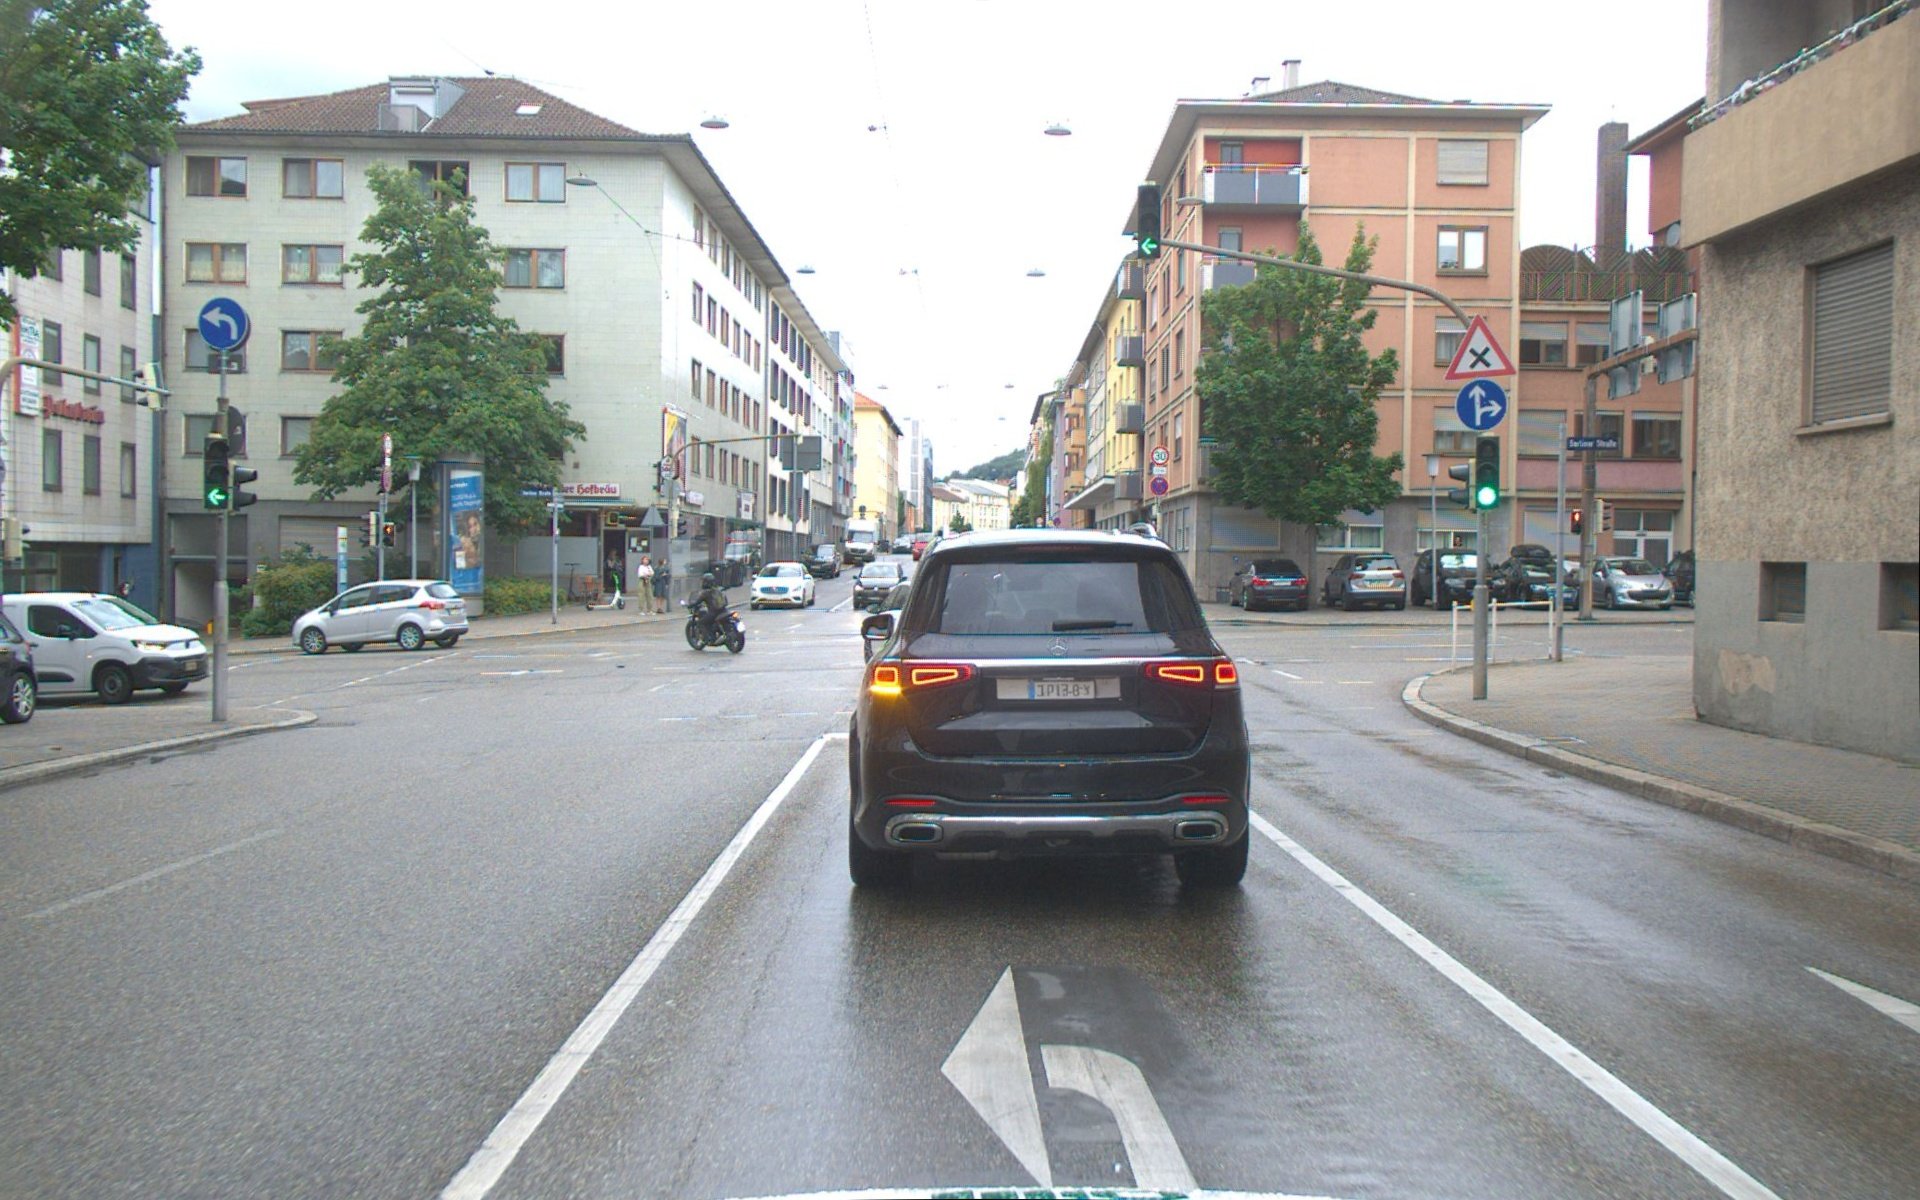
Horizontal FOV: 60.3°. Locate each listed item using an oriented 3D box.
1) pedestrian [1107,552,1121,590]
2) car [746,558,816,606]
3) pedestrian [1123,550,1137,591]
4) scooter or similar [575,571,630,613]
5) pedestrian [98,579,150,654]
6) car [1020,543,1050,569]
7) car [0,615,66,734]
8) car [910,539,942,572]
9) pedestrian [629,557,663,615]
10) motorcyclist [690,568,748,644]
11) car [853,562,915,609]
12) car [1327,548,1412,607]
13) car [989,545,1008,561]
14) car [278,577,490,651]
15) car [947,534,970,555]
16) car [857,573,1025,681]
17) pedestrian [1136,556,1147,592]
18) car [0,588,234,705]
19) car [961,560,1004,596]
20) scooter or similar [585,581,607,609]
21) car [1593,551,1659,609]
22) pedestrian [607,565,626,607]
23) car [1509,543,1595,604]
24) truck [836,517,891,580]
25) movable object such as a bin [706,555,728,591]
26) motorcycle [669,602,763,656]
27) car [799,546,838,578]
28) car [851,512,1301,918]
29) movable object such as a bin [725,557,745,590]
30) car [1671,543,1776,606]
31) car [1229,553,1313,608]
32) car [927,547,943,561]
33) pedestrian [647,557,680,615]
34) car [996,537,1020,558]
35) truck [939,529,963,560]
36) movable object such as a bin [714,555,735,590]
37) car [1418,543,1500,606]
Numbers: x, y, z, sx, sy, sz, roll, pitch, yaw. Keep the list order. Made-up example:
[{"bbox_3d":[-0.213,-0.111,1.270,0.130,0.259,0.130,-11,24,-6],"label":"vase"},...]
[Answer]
[{"bbox_3d":[6.572,-1.238,70.608,0.509,1.565,0.569,2,4,1],"label":"pedestrian"},{"bbox_3d":[-5.926,-0.618,55.226,1.806,1.539,4.001,-1,1,1],"label":"car"},{"bbox_3d":[6.934,-1.199,67.287,0.469,1.593,0.558,2,4,1],"label":"pedestrian"},{"bbox_3d":[-10.909,-0.238,50.436,1.539,1.211,0.496,2,0,-29],"label":"scooter or similar"},{"bbox_3d":[-21.367,0.404,42.294,0.897,1.848,0.754,1,4,28],"label":"pedestrian"},{"bbox_3d":[5.237,-3.073,115.254,1.974,1.590,5.157,2,0,3],"label":"car"},{"bbox_3d":[-12.159,0.920,18.929,1.697,1.383,3.999,-2,0,-1],"label":"car"},{"bbox_3d":[-2.441,-3.176,119.336,2.022,2.280,4.621,0,1,2],"label":"car"},{"bbox_3d":[-9.290,-0.422,48.940,0.702,1.675,0.750,0,4,-36],"label":"pedestrian"},{"bbox_3d":[-4.836,0.110,33.137,0.899,1.478,0.735,-1,1,-41],"label":"motorcyclist"},{"bbox_3d":[-2.533,-0.518,55.946,1.806,1.515,4.001,-1,1,1],"label":"car"},{"bbox_3d":[12.214,-0.695,49.576,1.944,1.689,4.003,0,1,6],"label":"car"},{"bbox_3d":[4.247,-5.120,181.222,1.974,1.590,4.001,2,0,3],"label":"car"},{"bbox_3d":[-13.257,0.302,38.136,4.158,1.627,2.029,-1,1,13],"label":"car"},{"bbox_3d":[-0.102,-4.593,137.062,1.806,1.703,4.001,0,1,1],"label":"car"},{"bbox_3d":[-0.397,0.355,26.416,1.798,1.487,4.365,-2,2,-12],"label":"car"},{"bbox_3d":[7.394,-1.060,67.327,0.356,1.422,0.370,2,4,1],"label":"pedestrian"},{"bbox_3d":[-14.808,0.775,27.691,4.436,1.745,1.813,-3,1,3],"label":"car"},{"bbox_3d":[0.982,-0.965,71.681,1.806,1.515,4.001,0,1,1],"label":"car"},{"bbox_3d":[-11.511,-0.162,52.304,0.452,0.857,1.313,2,0,-22],"label":"scooter or similar"},{"bbox_3d":[19.803,-0.568,49.280,1.634,1.609,4.001,2,0,20],"label":"car"},{"bbox_3d":[-11.781,-0.476,56.716,0.508,1.424,0.578,2,0,-3],"label":"pedestrian"},{"bbox_3d":[17.680,-0.787,49.320,1.761,1.727,3.993,2,1,29],"label":"car"},{"bbox_3d":[-6.406,-3.378,110.879,2.749,3.899,8.147,2,0,2],"label":"truck"},{"bbox_3d":[-9.351,-1.041,63.707,0.683,1.338,0.782,2,0,-1],"label":"movable object such as a bin"},{"bbox_3d":[-4.922,0.563,33.260,0.857,1.024,2.219,-1,1,-40],"label":"motorcycle"},{"bbox_3d":[-7.339,-1.969,86.202,1.688,1.631,4.000,0,1,0],"label":"car"},{"bbox_3d":[0.437,0.501,9.620,1.980,1.770,4.745,0,0,-2],"label":"car"},{"bbox_3d":[-9.303,-1.099,68.407,0.683,1.338,0.782,2,0,-1],"label":"movable object such as a bin"},{"bbox_3d":[22.464,-0.724,48.820,1.951,1.736,4.003,2,0,12],"label":"car"},{"bbox_3d":[9.333,-0.613,50.011,1.805,1.581,4.798,0,1,2],"label":"car"},{"bbox_3d":[-3.106,-5.695,204.900,1.806,1.703,4.001,0,1,1],"label":"car"},{"bbox_3d":[-8.932,-0.430,49.820,0.702,1.675,0.750,0,4,-36],"label":"pedestrian"},{"bbox_3d":[4.275,-4.654,146.949,1.974,1.590,4.001,2,0,3],"label":"car"},{"bbox_3d":[-1.213,-7.492,225.121,2.749,3.899,8.147,2,0,2],"label":"truck"},{"bbox_3d":[-9.334,-1.091,65.670,0.683,1.338,0.782,2,0,-1],"label":"movable object such as a bin"},{"bbox_3d":[14.754,-0.758,49.049,1.944,1.749,4.004,-1,1,11],"label":"car"}]
